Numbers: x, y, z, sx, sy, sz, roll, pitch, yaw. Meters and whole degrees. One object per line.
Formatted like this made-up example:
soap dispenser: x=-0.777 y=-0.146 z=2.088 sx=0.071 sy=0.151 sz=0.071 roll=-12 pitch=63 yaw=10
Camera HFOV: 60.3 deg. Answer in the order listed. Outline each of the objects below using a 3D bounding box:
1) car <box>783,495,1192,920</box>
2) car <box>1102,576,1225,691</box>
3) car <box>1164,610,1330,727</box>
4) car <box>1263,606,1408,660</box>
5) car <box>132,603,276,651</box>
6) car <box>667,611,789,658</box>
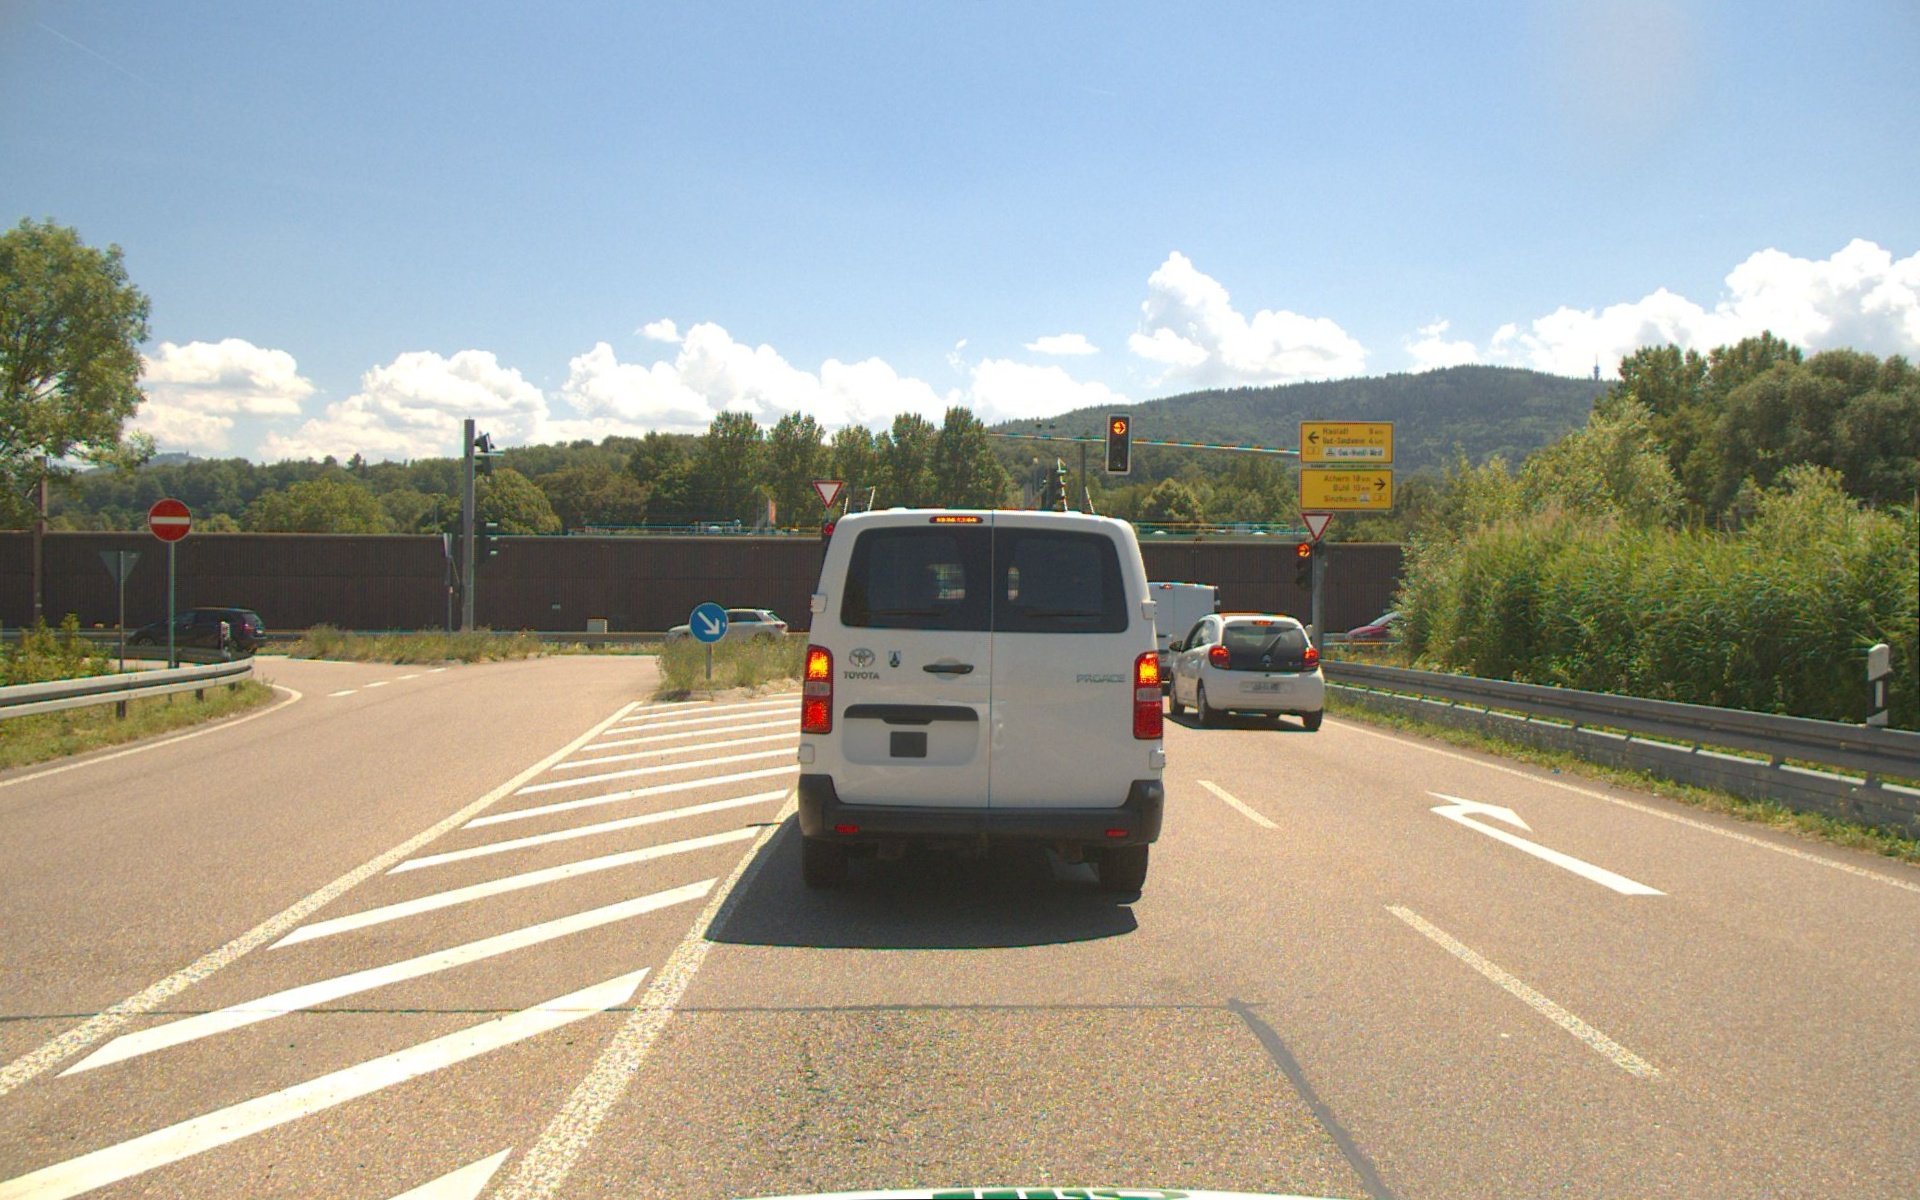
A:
car: x=0.099 y=0.510 z=9.592 sx=1.848 sy=1.919 sz=3.999 roll=1 pitch=0 yaw=-1
car: x=3.865 y=0.620 z=32.176 sx=1.889 sy=2.035 sz=4.838 roll=1 pitch=0 yaw=1
car: x=3.850 y=0.878 z=22.651 sx=1.622 sy=1.456 sz=3.365 roll=1 pitch=0 yaw=-1
car: x=12.204 y=1.062 z=53.853 sx=4.224 sy=1.685 sz=1.999 roll=1 pitch=0 yaw=-4
car: x=-25.171 y=0.904 z=55.196 sx=3.911 sy=1.511 sz=1.997 roll=1 pitch=-1 yaw=-7
car: x=-7.808 y=1.158 z=55.920 sx=3.907 sy=1.511 sz=1.999 roll=1 pitch=-1 yaw=-3
